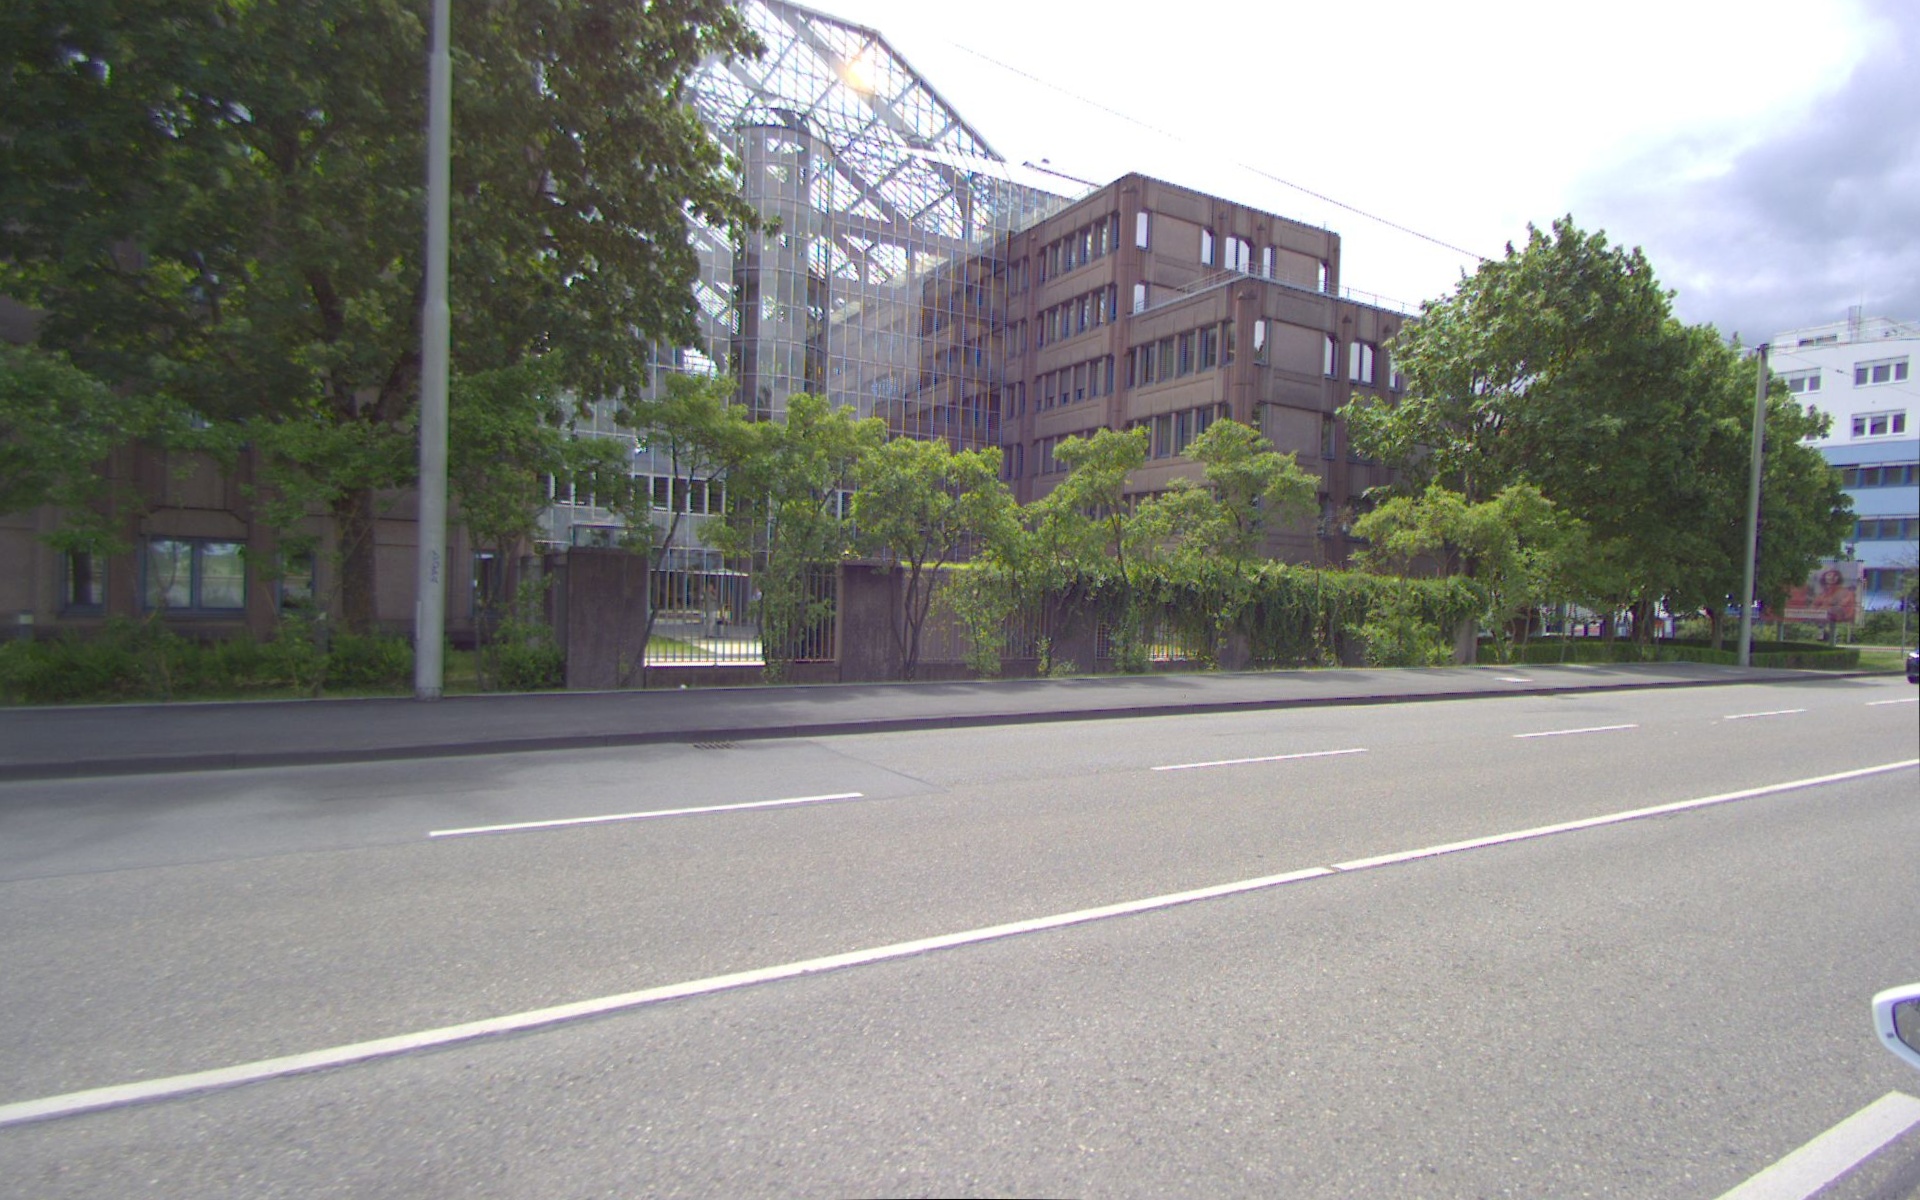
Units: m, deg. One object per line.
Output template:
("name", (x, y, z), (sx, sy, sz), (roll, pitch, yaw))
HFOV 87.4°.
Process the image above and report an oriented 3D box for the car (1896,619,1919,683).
("car", (26.025, 1.320, 25.863), (4.266, 1.605, 1.787), (2, -3, -32))
